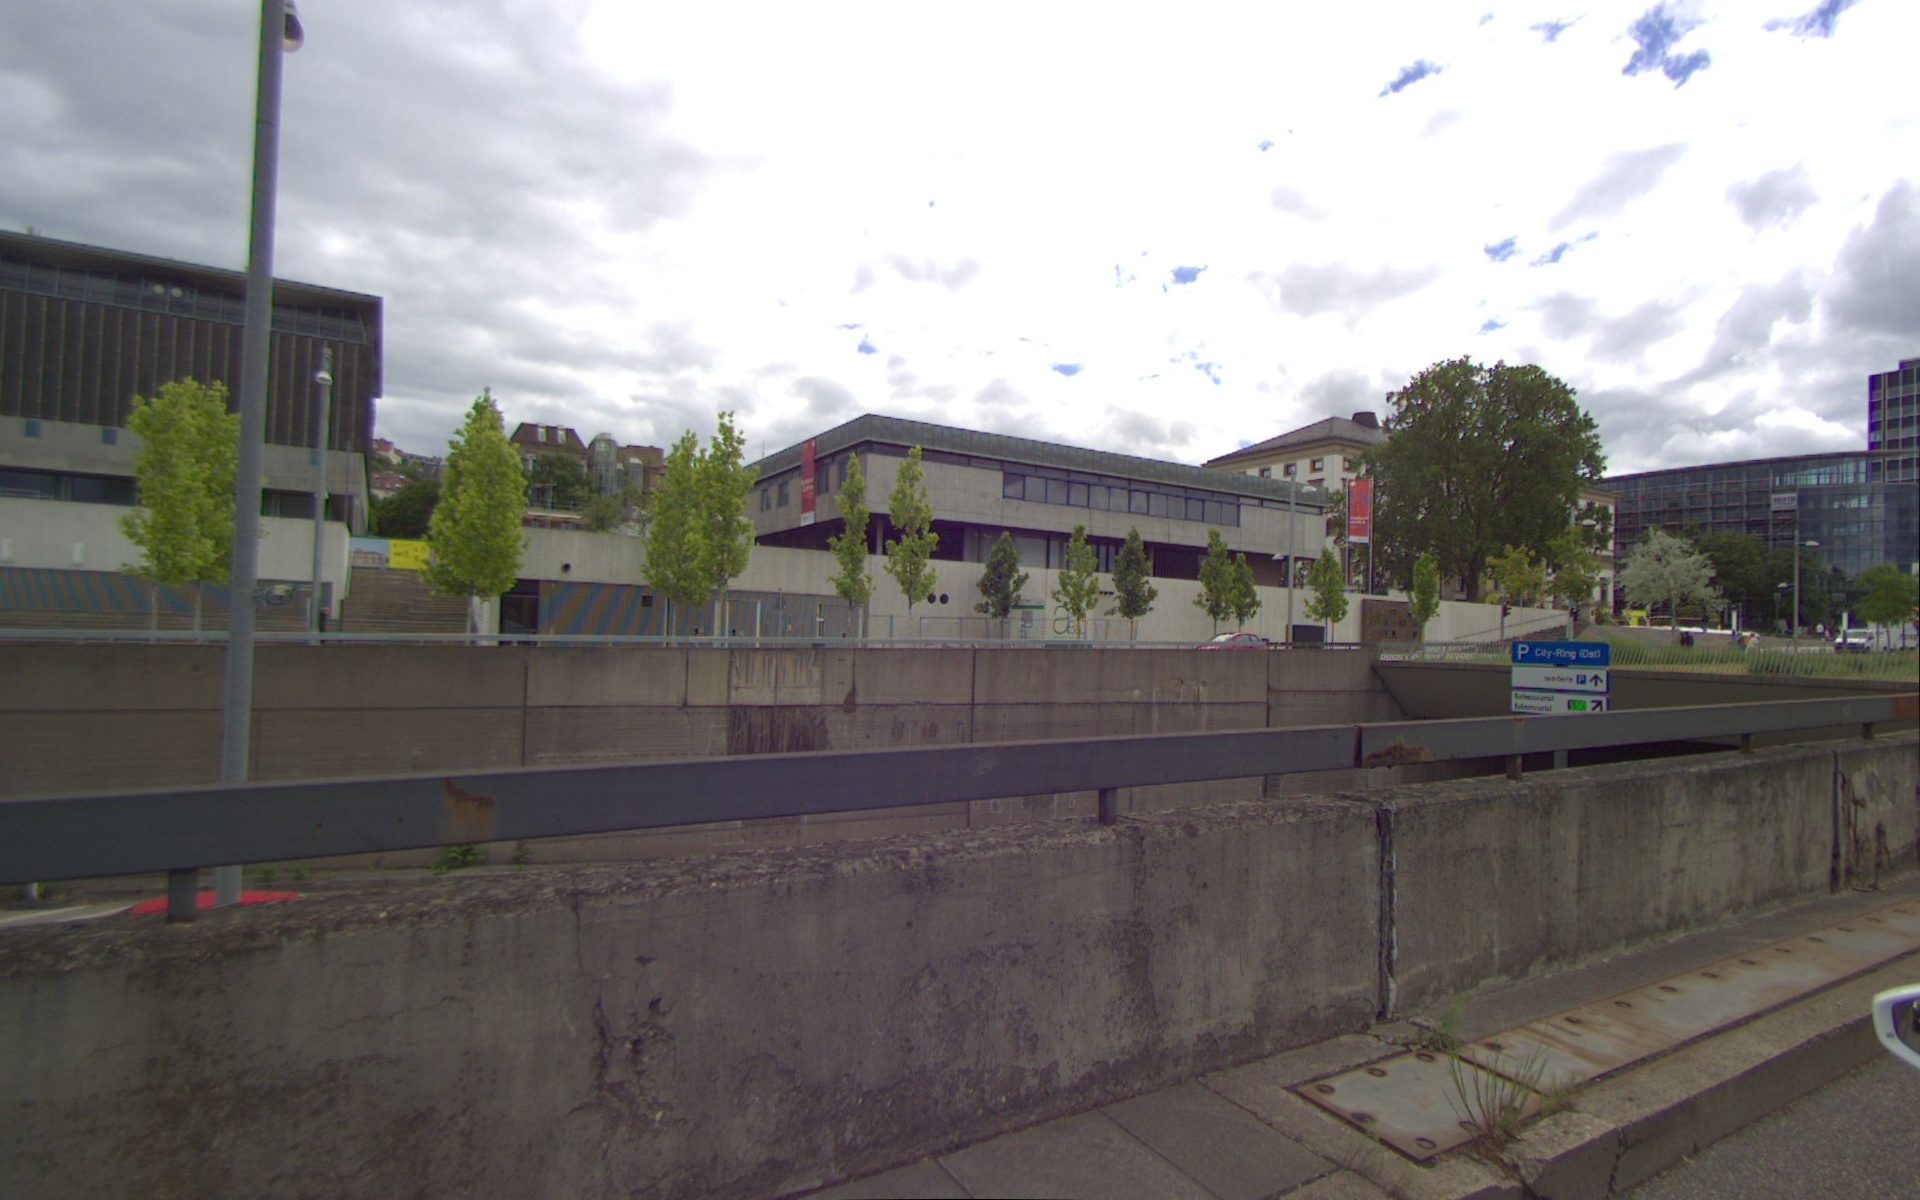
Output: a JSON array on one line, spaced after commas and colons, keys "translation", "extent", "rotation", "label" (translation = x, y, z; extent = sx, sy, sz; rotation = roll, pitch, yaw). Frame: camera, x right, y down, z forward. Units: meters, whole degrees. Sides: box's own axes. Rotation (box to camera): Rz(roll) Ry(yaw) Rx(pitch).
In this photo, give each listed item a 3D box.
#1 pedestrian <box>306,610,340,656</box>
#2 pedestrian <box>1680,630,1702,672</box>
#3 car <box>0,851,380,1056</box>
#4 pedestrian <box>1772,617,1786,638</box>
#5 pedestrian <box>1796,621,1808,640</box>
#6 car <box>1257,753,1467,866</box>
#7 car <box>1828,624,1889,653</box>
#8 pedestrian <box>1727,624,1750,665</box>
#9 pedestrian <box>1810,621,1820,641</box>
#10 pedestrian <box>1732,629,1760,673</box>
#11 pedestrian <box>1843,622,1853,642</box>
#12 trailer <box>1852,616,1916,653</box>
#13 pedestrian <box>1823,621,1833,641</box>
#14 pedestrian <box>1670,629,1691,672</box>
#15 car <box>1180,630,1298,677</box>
[{"translation": [-23.244, 1.185, 36.642], "extent": [0.777, 1.664, 0.740], "rotation": [0, -1, -2], "label": "pedestrian"}, {"translation": [36.026, 2.504, 49.510], "extent": [0.779, 2.040, 0.834], "rotation": [-1, -1, 33], "label": "pedestrian"}, {"translation": [-9.735, 4.362, 12.826], "extent": [3.952, 1.505, 1.985], "rotation": [2, -1, -29], "label": "car"}, {"translation": [79.069, 2.649, 96.940], "extent": [1.103, 2.040, 0.733], "rotation": [0, -1, -35], "label": "pedestrian"}, {"translation": [89.235, 3.227, 106.469], "extent": [0.783, 2.040, 0.735], "rotation": [0, -1, -29], "label": "pedestrian"}, {"translation": [10.087, 5.117, 25.127], "extent": [5.054, 2.040, 2.209], "rotation": [1, -1, -29], "label": "car"}, {"translation": [66.737, 2.835, 74.595], "extent": [4.635, 2.040, 1.985], "rotation": [0, 0, -30], "label": "car"}, {"translation": [40.064, 2.293, 51.699], "extent": [0.623, 2.041, 0.724], "rotation": [-4, 2, -37], "label": "pedestrian"}, {"translation": [90.434, 3.294, 106.223], "extent": [0.730, 2.040, 0.789], "rotation": [-1, -1, 40], "label": "pedestrian"}, {"translation": [37.275, 2.403, 47.655], "extent": [0.617, 2.040, 0.863], "rotation": [0, -1, -1], "label": "pedestrian"}, {"translation": [89.655, 3.240, 101.403], "extent": [0.730, 2.040, 1.109], "rotation": [-1, -1, 40], "label": "pedestrian"}, {"translation": [70.783, 2.617, 76.952], "extent": [5.443, 2.640, 2.027], "rotation": [1, 1, -30], "label": "trailer"}, {"translation": [87.999, 3.145, 101.855], "extent": [0.730, 2.040, 0.789], "rotation": [-1, -1, 40], "label": "pedestrian"}, {"translation": [35.343, 2.466, 49.266], "extent": [0.779, 2.040, 0.834], "rotation": [-1, -1, 33], "label": "pedestrian"}, {"translation": [11.789, 2.231, 42.358], "extent": [4.681, 1.879, 2.164], "rotation": [2, -1, -31], "label": "car"}]
